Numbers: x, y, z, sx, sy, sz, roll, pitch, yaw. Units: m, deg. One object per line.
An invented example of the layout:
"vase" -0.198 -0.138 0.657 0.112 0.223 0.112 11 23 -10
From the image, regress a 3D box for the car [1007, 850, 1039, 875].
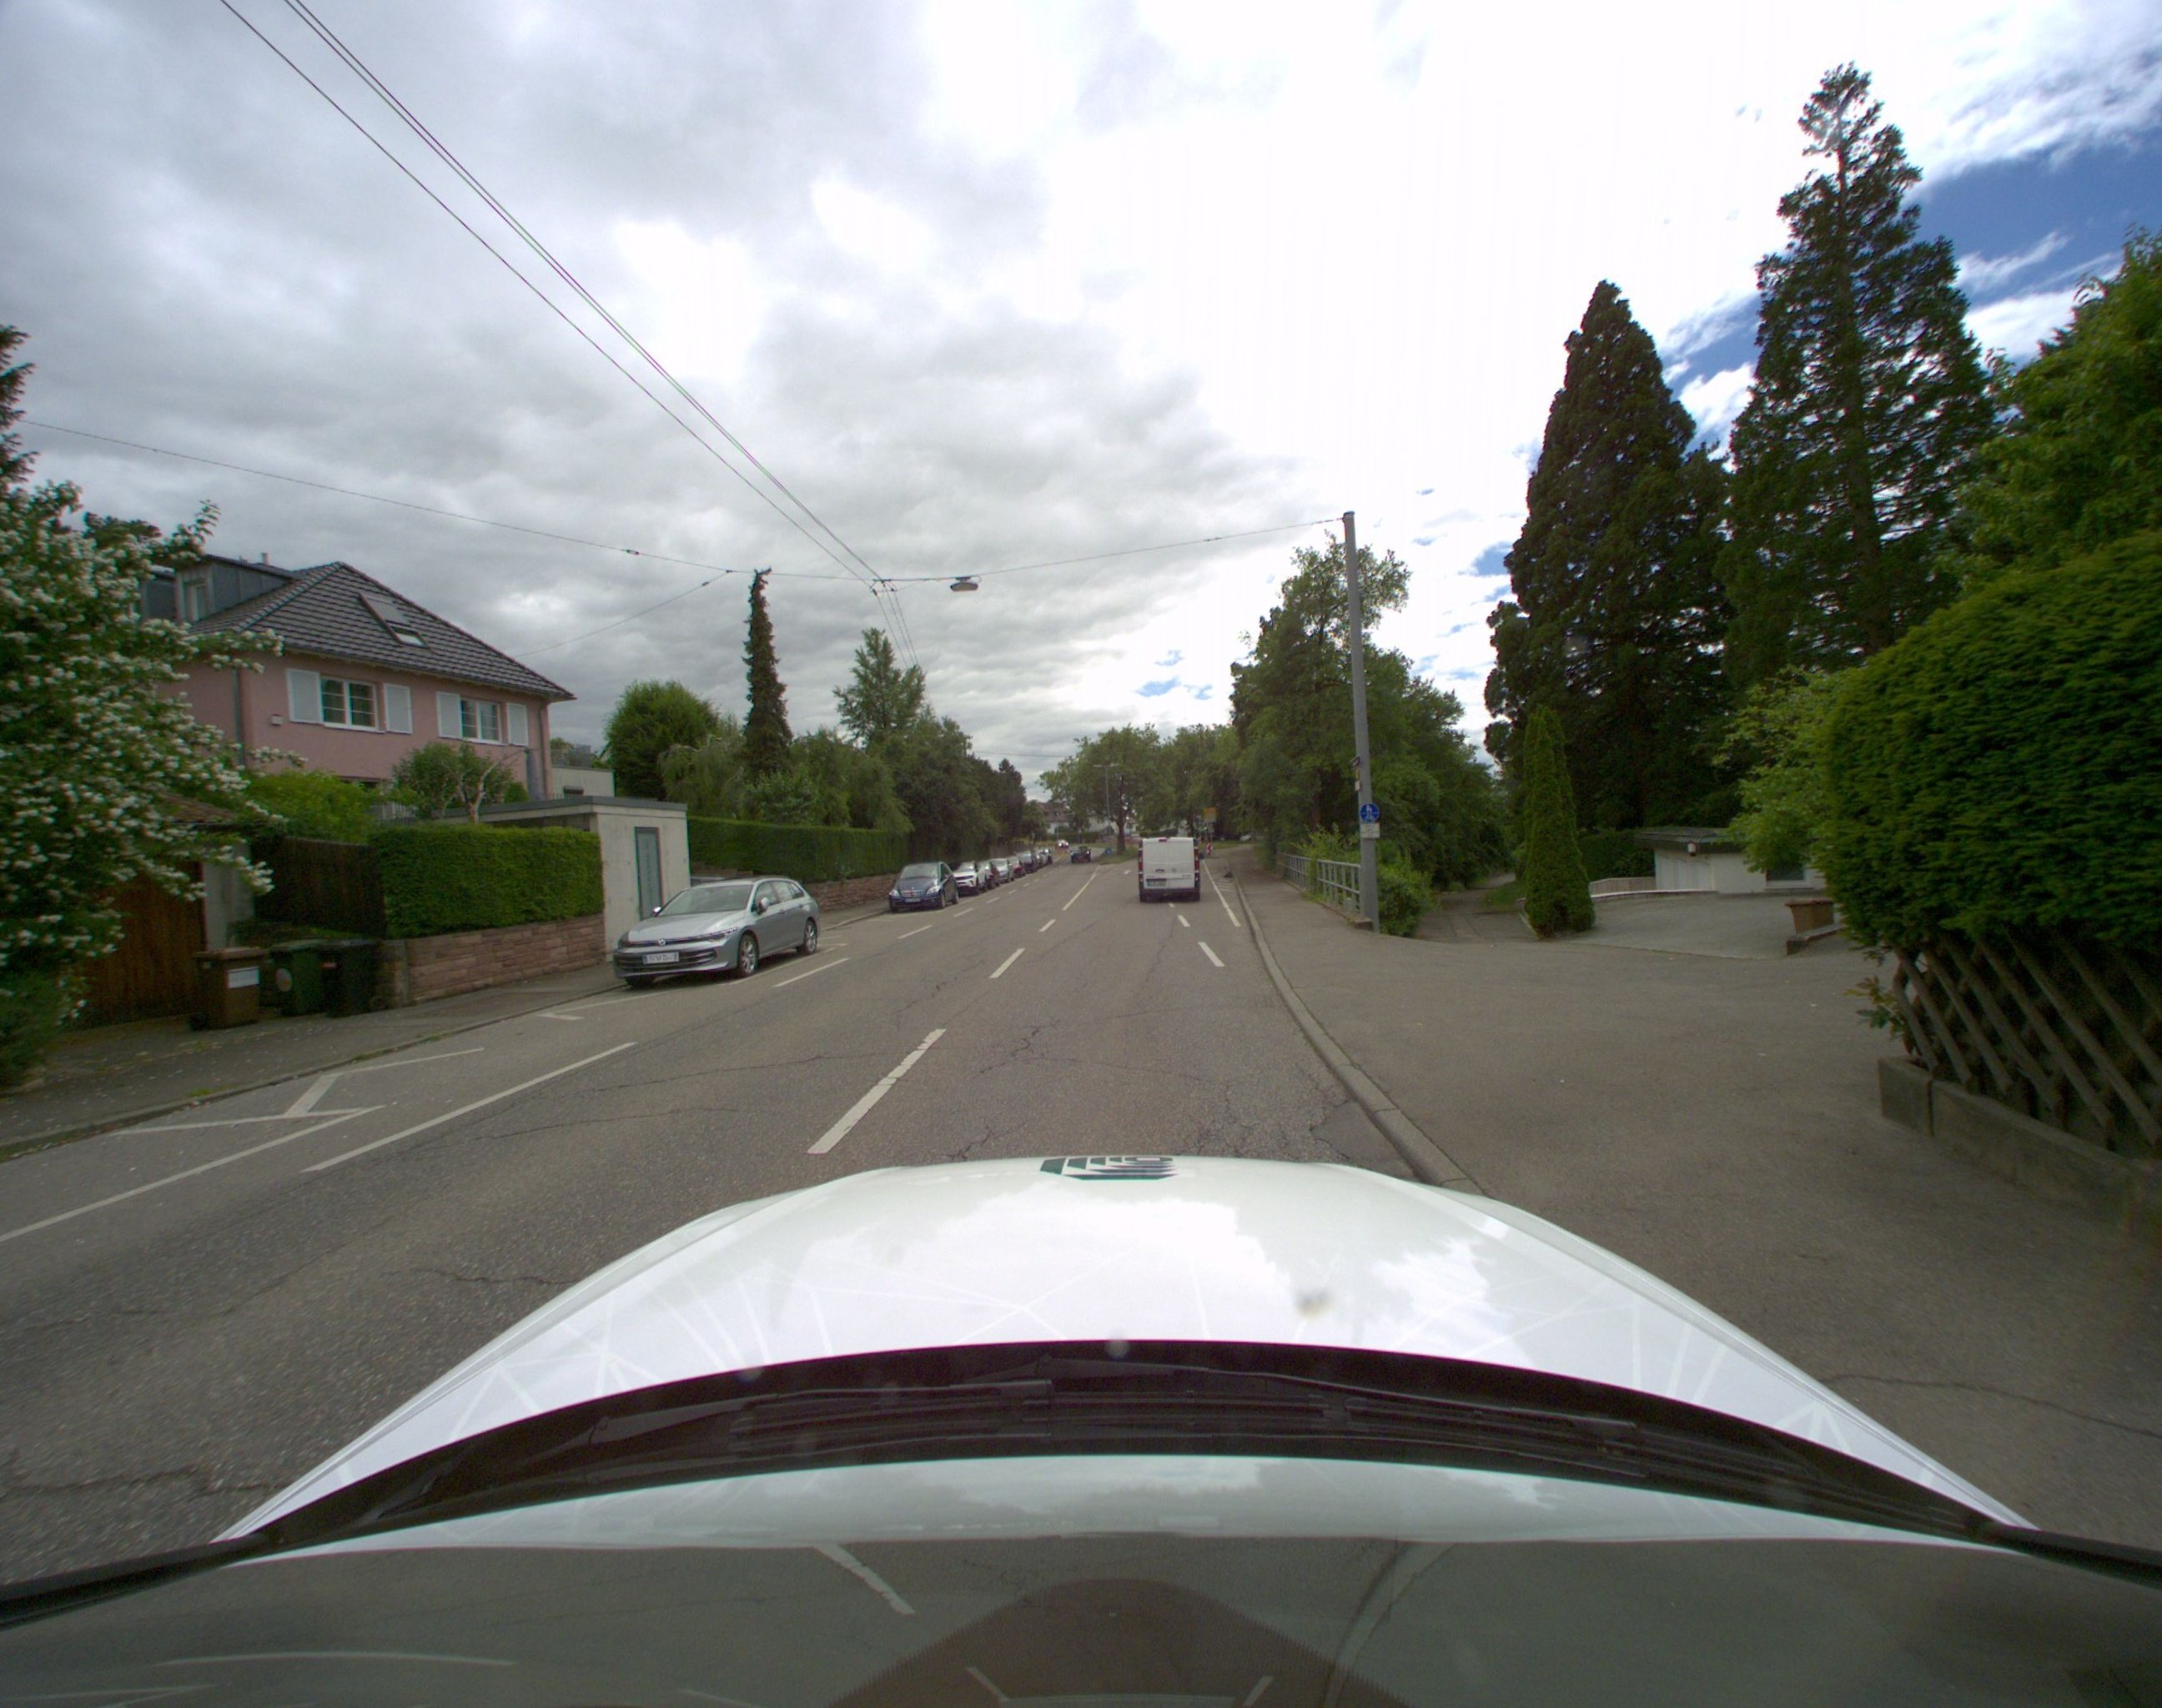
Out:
"car" -4.368 0.602 61.628 1.987 1.643 4.466 -4 0 0

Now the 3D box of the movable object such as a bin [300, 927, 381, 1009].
"movable object such as a bin" -9.123 1.397 10.046 0.534 0.942 0.511 -2 -1 14

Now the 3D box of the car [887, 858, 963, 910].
"car" -5.300 0.978 28.168 1.673 1.556 3.972 -5 -1 1

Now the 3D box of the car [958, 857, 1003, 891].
"car" -5.067 0.985 41.519 1.664 1.478 3.911 -4 0 1

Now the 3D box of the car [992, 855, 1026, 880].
"car" -4.776 0.893 54.648 1.773 1.438 4.000 -4 0 1

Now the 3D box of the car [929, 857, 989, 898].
"car" -5.324 0.989 36.025 1.883 1.494 4.027 -5 0 1

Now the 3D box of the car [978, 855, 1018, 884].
"car" -4.845 0.858 47.843 1.663 1.488 4.433 -4 0 2

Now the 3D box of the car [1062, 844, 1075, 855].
"car" -2.110 -0.782 138.618 1.990 1.587 3.999 -4 0 2

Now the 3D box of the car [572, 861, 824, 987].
"car" -5.815 0.956 13.095 1.803 1.455 4.413 -6 0 0

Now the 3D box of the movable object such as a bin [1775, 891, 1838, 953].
"movable object such as a bin" 11.824 1.101 13.286 0.540 0.975 0.506 0 -4 -19

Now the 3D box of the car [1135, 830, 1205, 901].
"car" 2.843 0.320 26.326 1.996 2.038 5.018 -1 0 6

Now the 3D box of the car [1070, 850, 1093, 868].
"car" 0.058 0.449 80.131 1.834 1.647 4.218 -3 0 4

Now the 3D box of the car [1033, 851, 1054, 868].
"car" -3.847 0.539 83.400 1.882 1.625 4.430 -3 0 0

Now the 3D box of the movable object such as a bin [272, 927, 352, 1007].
"movable object such as a bin" -9.781 1.428 10.366 0.534 0.942 0.511 -2 -1 14

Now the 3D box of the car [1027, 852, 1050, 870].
"car" -4.038 0.645 78.056 1.666 1.592 4.098 -5 0 2

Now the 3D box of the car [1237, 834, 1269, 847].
"car" 27.441 -2.144 129.576 4.756 1.769 1.982 -3 1 -28

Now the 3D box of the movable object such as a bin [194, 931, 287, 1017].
"movable object such as a bin" -10.047 1.418 9.744 0.445 0.942 0.618 -2 -1 13

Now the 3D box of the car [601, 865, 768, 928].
"car" -10.631 1.121 21.954 3.566 1.390 1.855 -3 0 10
